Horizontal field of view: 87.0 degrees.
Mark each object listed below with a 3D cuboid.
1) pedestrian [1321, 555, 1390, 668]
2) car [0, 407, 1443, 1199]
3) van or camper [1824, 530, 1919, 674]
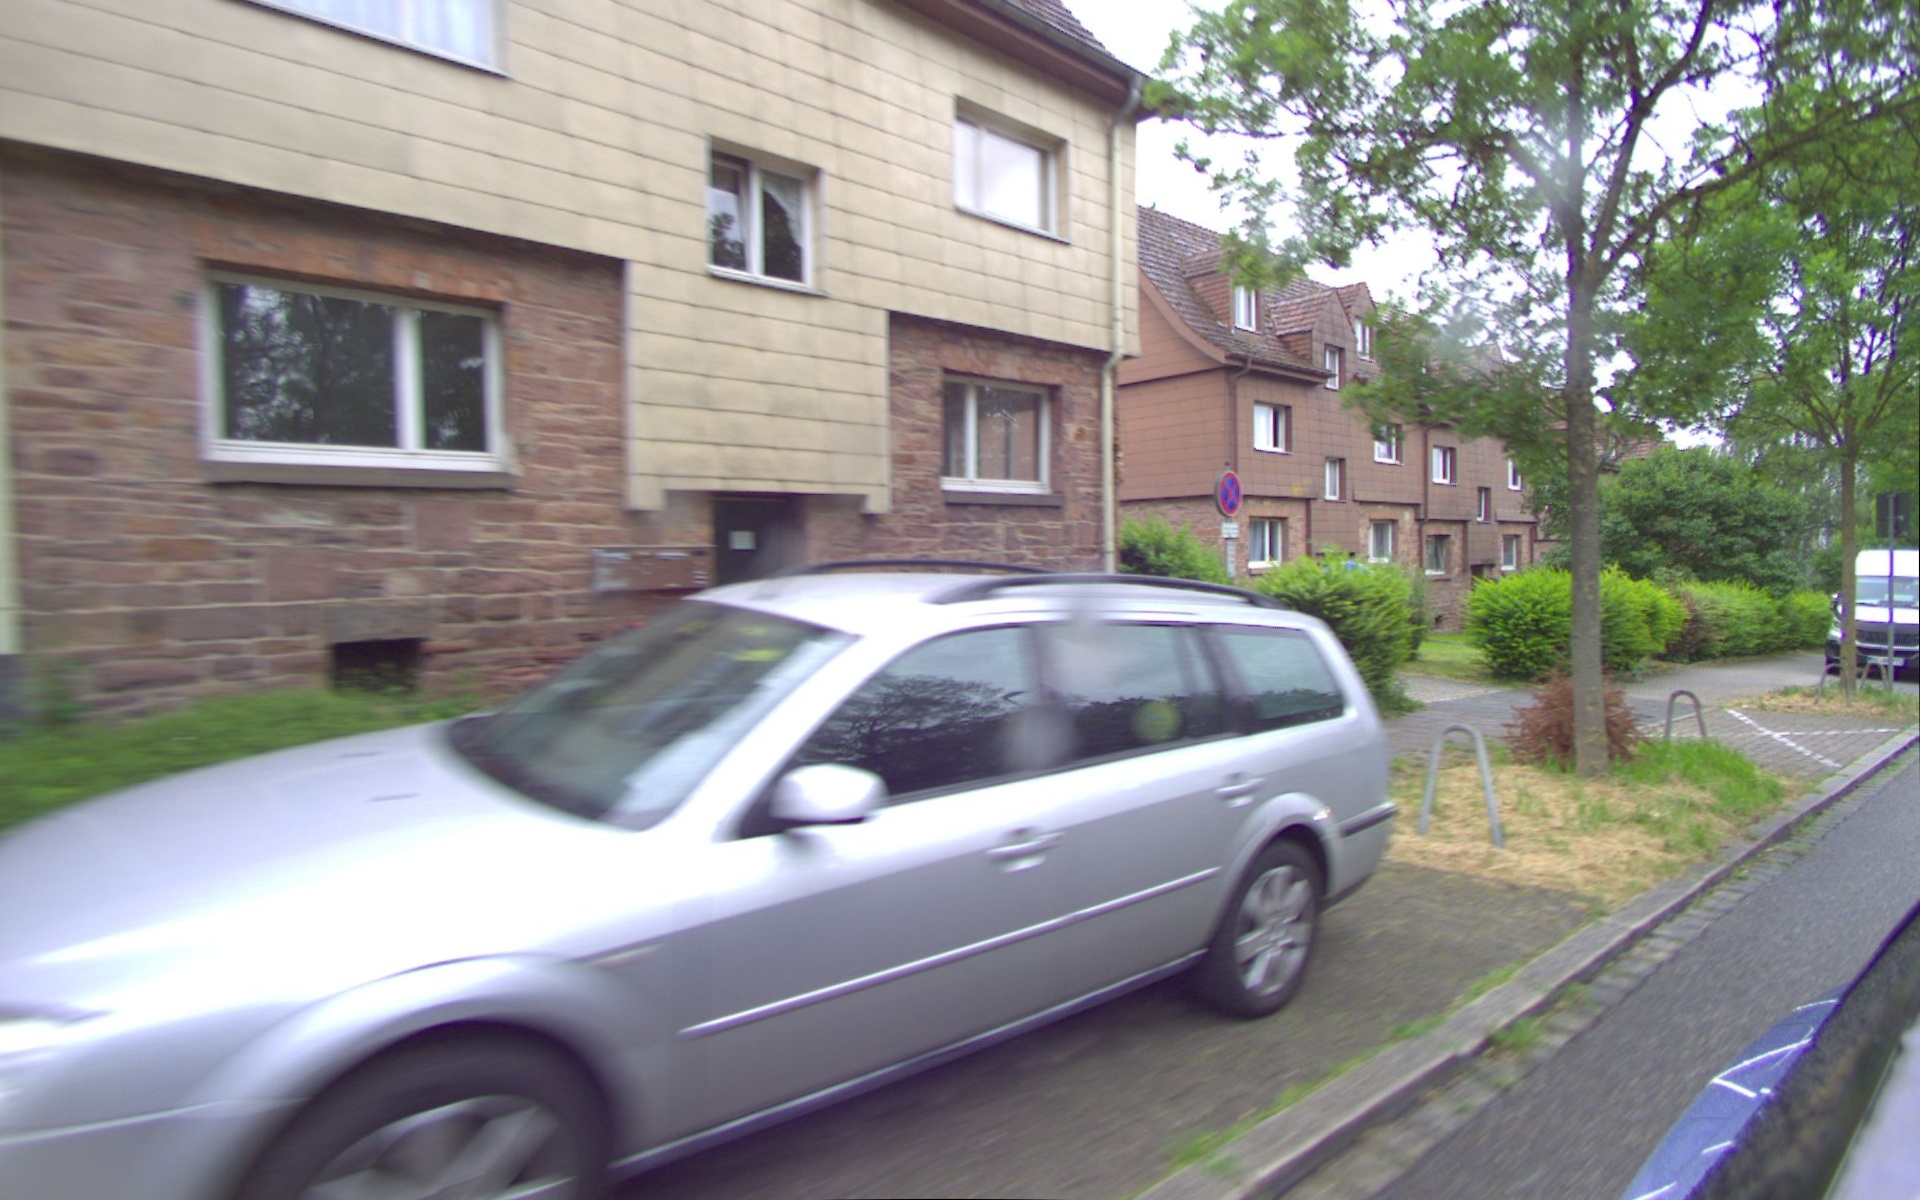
[{"bbox_3d":[6.112,0.165,15.650,0.641,1.700,0.710,1,1,-35],"label":"pedestrian"},{"bbox_3d":[-0.399,0.493,3.271,4.559,1.603,1.706,1,4,-40],"label":"car"},{"bbox_3d":[20.541,0.067,21.457,7.172,2.684,2.203,1,2,-41],"label":"van or camper"}]
